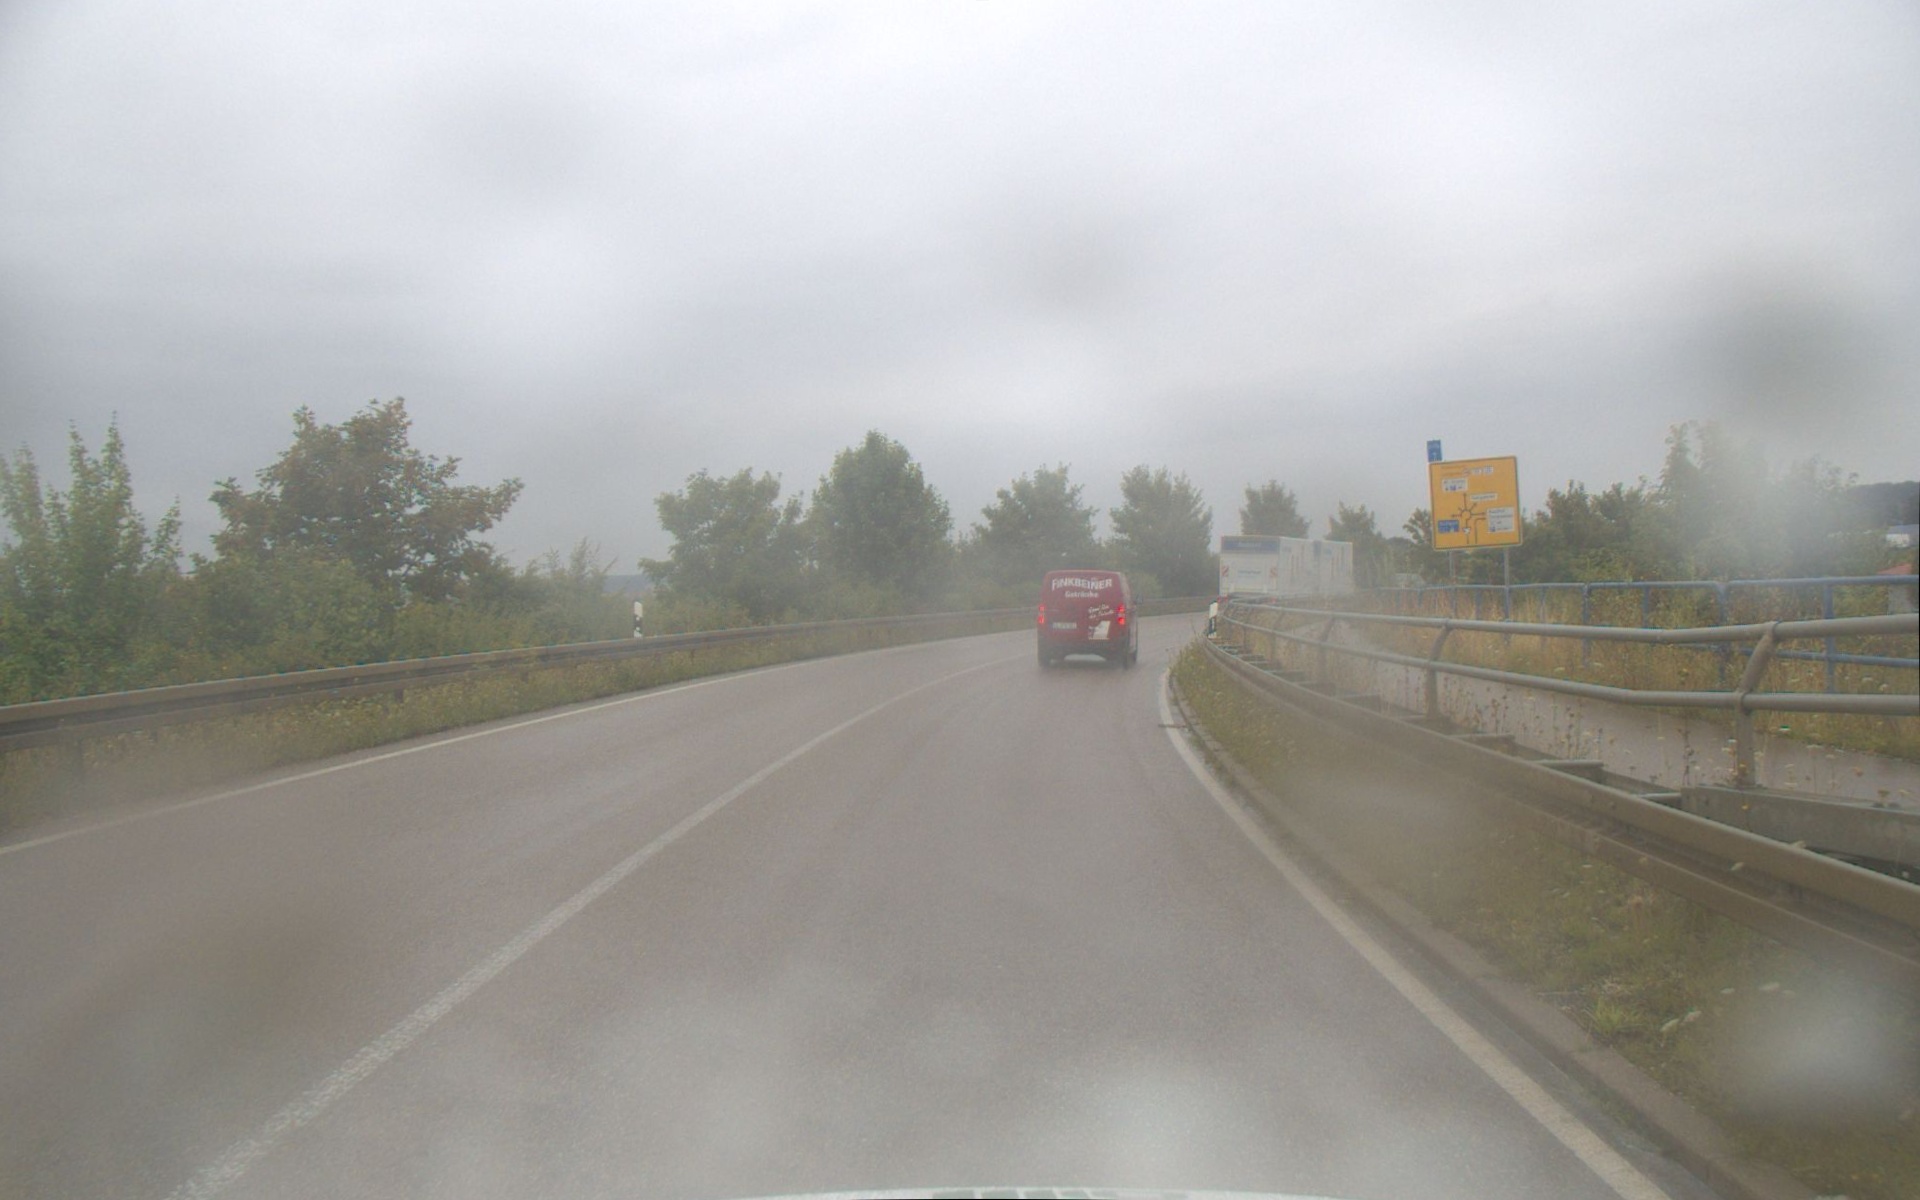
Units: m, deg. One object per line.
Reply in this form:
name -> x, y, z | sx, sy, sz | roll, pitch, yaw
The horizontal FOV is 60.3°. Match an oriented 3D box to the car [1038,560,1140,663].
car -> 2.679, 0.189, 34.355 | 1.951, 1.959, 4.146 | -1, 1, 4

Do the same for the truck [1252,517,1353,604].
truck -> 16.633, -1.841, 79.886 | 3.136, 3.990, 8.737 | 1, 0, 23

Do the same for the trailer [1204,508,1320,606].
trailer -> 13.243, -1.782, 71.837 | 3.136, 3.990, 8.737 | 1, 0, 23
